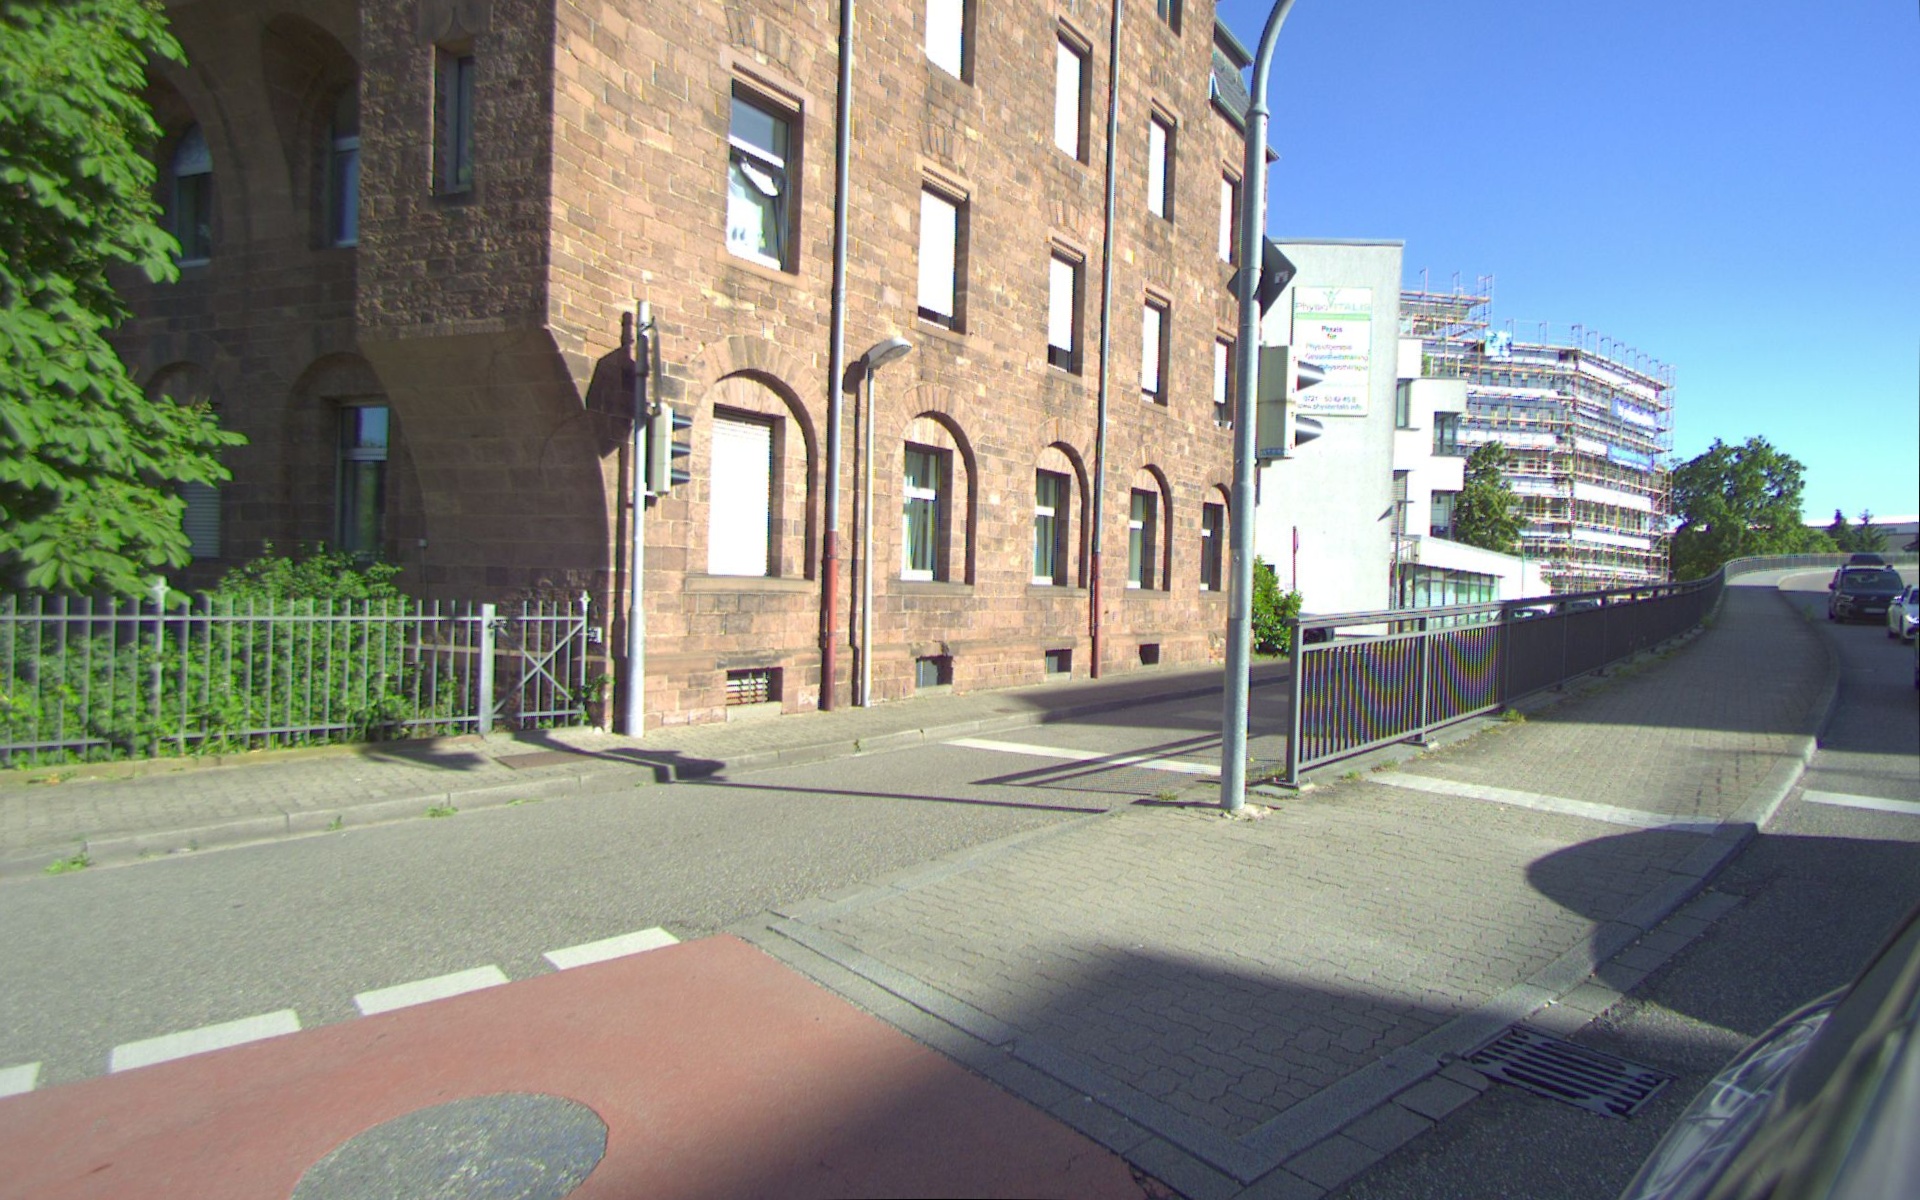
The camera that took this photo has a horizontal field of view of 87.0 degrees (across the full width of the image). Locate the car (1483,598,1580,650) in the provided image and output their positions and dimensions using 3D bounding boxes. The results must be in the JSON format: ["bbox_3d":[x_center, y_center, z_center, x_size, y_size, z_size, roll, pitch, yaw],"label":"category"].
[{"bbox_3d":[19.127,0.745,33.772,1.844,1.448,4.611,1,3,42],"label":"car"}]

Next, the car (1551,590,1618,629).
[{"bbox_3d":[27.594,0.395,44.661,1.843,1.554,3.940,3,2,41],"label":"car"}]

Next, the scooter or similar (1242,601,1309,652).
[{"bbox_3d":[7.913,0.654,25.385,1.453,1.234,0.775,-1,-1,35],"label":"scooter or similar"}]

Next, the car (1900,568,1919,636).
[{"bbox_3d":[24.427,0.010,24.825,1.843,1.554,4.442,1,3,41],"label":"car"}]

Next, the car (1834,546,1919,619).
[{"bbox_3d":[30.229,-0.628,33.333,1.900,2.241,4.538,1,3,37],"label":"car"}]

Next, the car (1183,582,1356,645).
[{"bbox_3d":[9.104,0.368,30.068,4.562,1.789,1.828,0,2,2],"label":"car"}]
